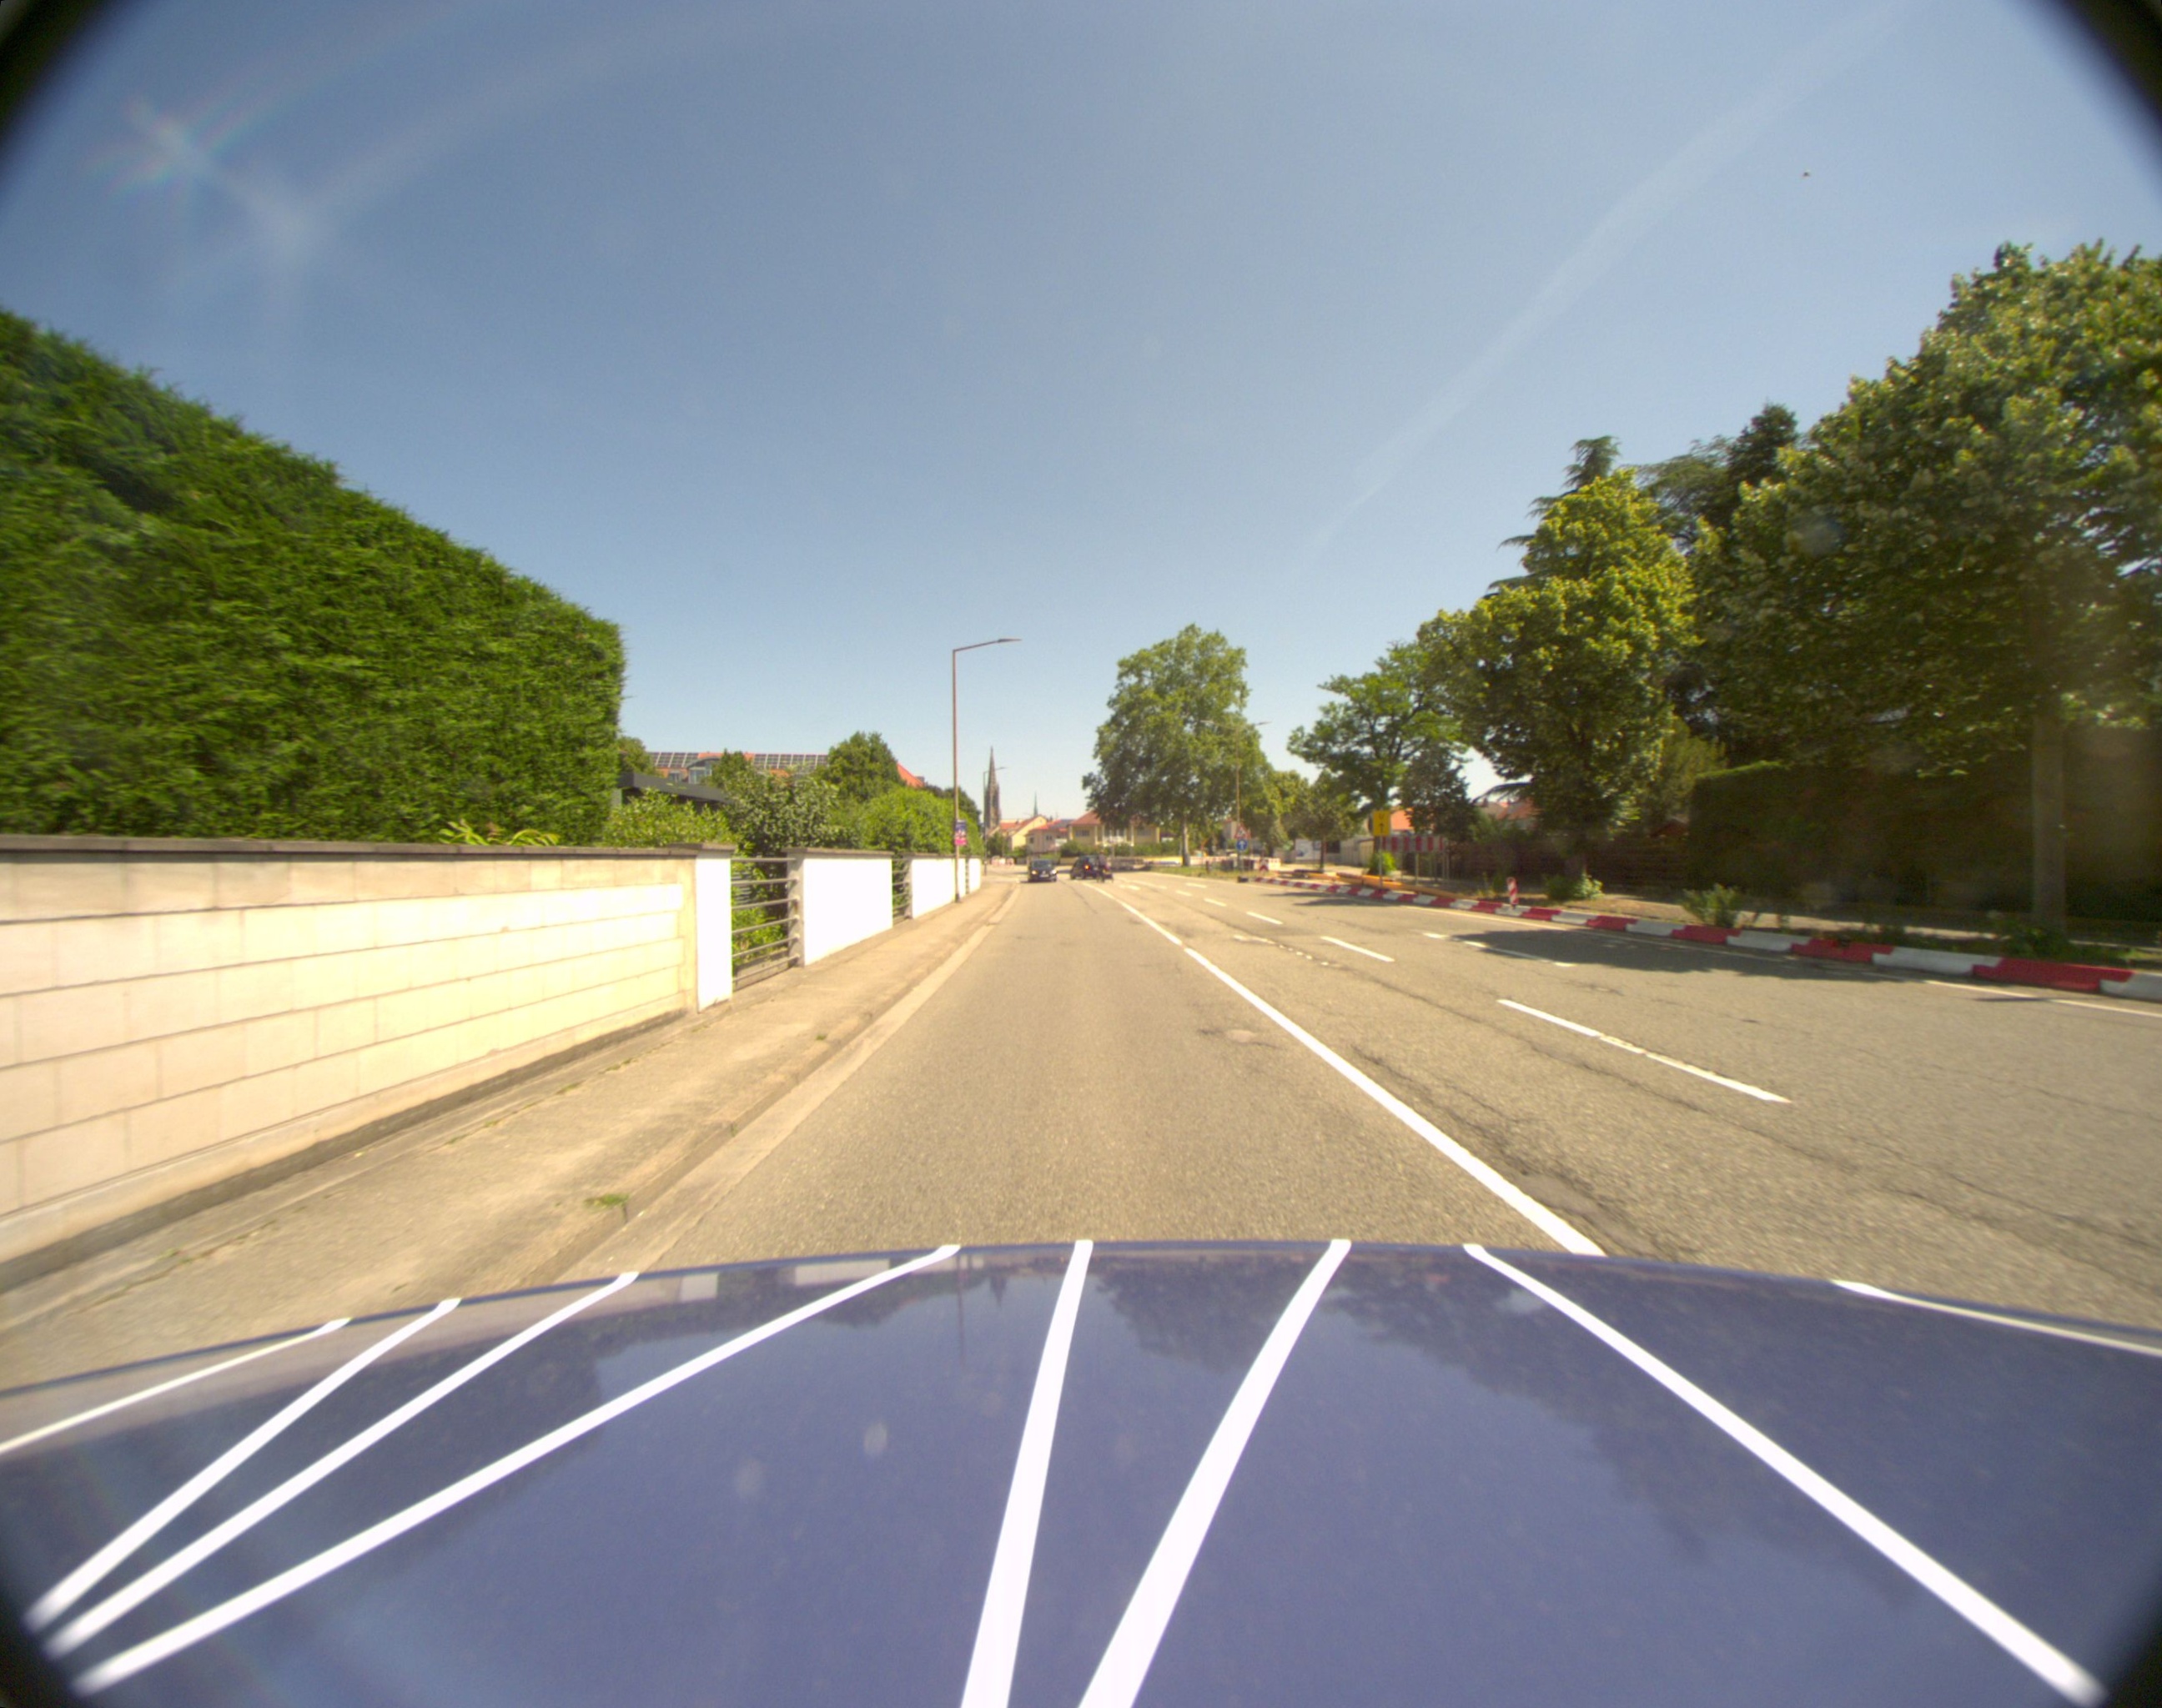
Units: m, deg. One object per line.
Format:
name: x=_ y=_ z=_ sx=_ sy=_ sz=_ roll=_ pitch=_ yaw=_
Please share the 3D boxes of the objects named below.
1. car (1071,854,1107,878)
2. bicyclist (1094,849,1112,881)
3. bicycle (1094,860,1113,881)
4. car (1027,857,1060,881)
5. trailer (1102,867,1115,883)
car: x=0.501 y=0.769 z=50.553 sx=1.731 sy=1.523 sz=3.827 roll=-2 pitch=0 yaw=-9
bicyclist: x=1.282 y=0.638 z=44.557 sx=0.848 sy=1.855 sz=0.976 roll=-1 pitch=1 yaw=-6
bicycle: x=1.294 y=0.995 z=44.538 sx=0.853 sy=1.159 sz=1.977 roll=-1 pitch=-2 yaw=-6
car: x=-2.467 y=0.917 z=48.887 sx=1.608 sy=1.436 sz=3.906 roll=-2 pitch=0 yaw=-10
trailer: x=1.517 y=1.168 z=42.641 sx=0.572 sy=0.851 sz=1.132 roll=-1 pitch=0 yaw=-6
